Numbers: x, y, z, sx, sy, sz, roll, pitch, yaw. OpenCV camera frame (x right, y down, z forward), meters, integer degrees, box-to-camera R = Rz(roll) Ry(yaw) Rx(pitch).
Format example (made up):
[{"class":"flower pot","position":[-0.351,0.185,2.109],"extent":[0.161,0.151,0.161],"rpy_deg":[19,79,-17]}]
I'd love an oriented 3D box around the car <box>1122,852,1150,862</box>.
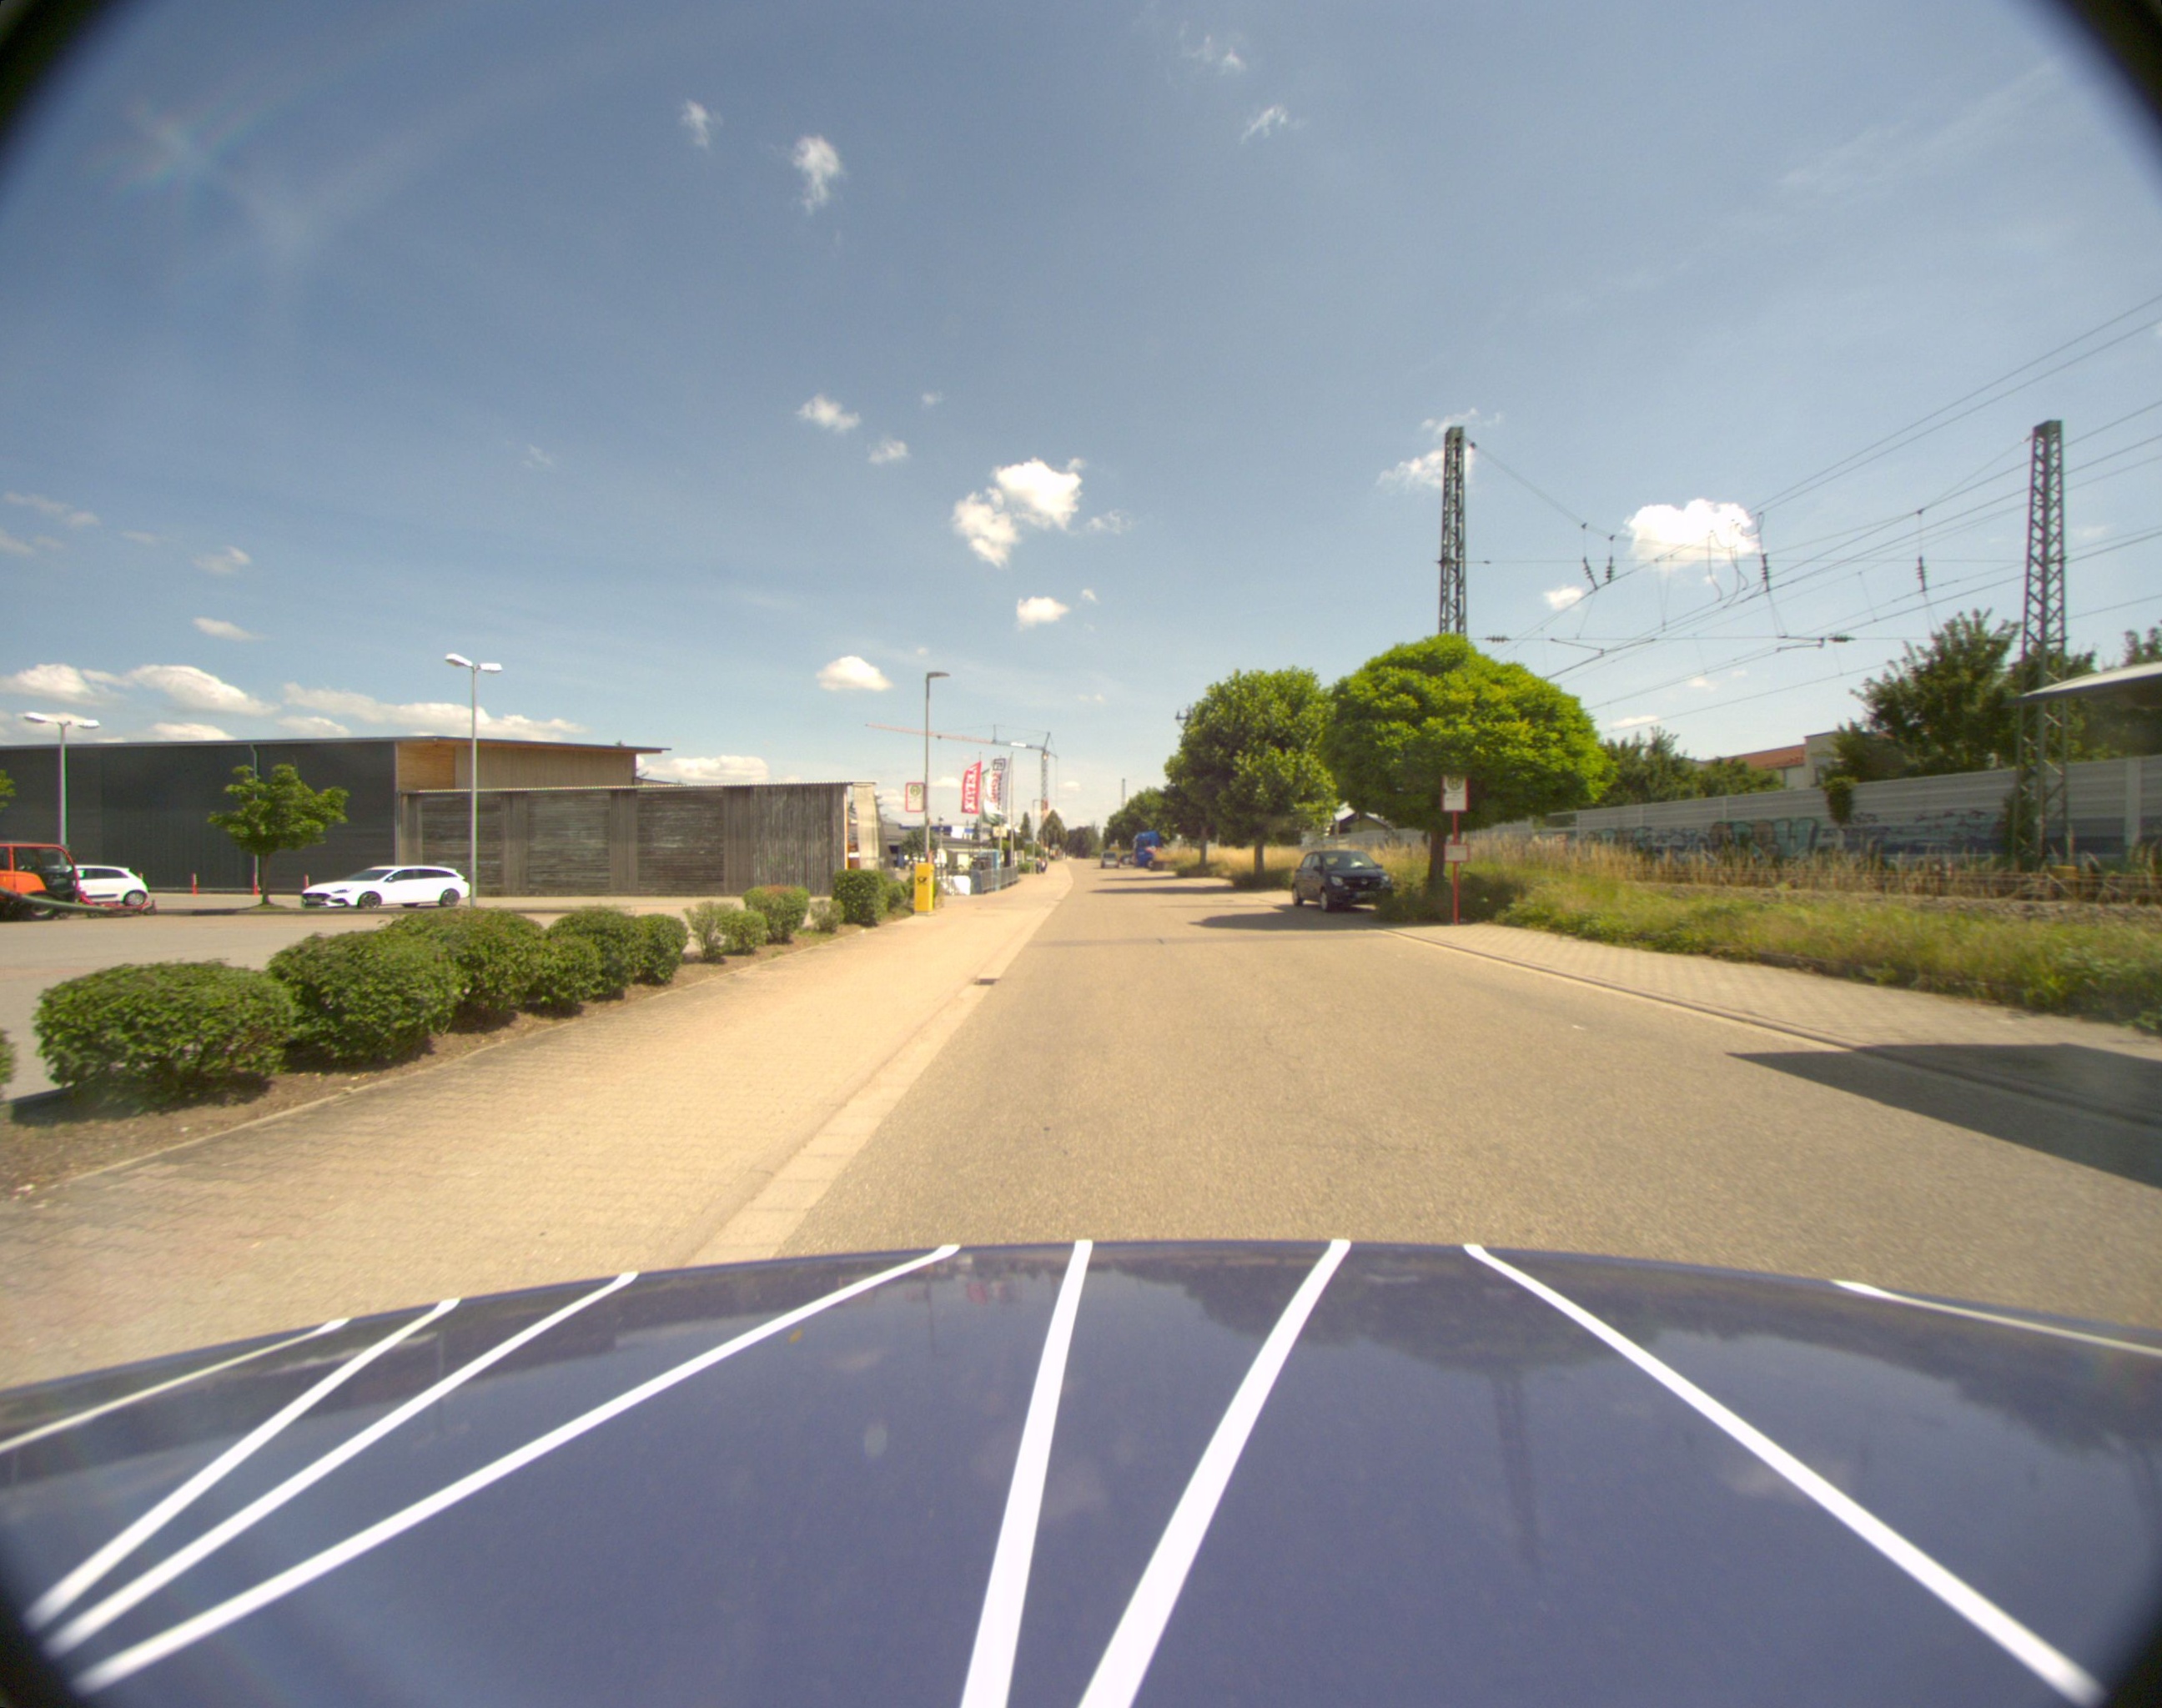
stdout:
[{"class":"car","position":[7.960,0.381,110.492],"extent":[3.954,1.442,1.787],"rpy_deg":[0,1,3]}]

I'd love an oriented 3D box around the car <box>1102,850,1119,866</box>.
[{"class":"car","position":[3.455,0.498,90.192],"extent":[1.843,1.847,4.483],"rpy_deg":[-1,0,0]}]

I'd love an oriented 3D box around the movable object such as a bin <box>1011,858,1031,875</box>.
[{"class":"movable object such as a bin","position":[-5.217,1.076,65.857],"extent":[1.270,1.450,1.046],"rpy_deg":[-2,1,-38]}]

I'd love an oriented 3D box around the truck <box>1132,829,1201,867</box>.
[{"class":"truck","position":[8.845,-0.620,78.988],"extent":[6.632,3.800,2.663],"rpy_deg":[-1,0,-4]}]

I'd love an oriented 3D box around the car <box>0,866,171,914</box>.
[{"class":"car","position":[-36.114,1.237,27.422],"extent":[1.583,1.565,4.001],"rpy_deg":[-1,0,4]}]

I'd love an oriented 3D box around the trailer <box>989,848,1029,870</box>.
[{"class":"trailer","position":[-7.701,0.570,81.410],"extent":[3.997,2.000,2.002],"rpy_deg":[-2,-5,-1]}]

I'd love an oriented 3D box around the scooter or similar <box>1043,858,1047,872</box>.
[{"class":"scooter or similar","position":[-3.103,0.986,65.624],"extent":[0.334,1.191,0.397],"rpy_deg":[0,3,0]}]

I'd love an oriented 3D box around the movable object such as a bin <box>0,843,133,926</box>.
[{"class":"movable object such as a bin","position":[-29.264,0.803,20.370],"extent":[1.682,2.191,4.526],"rpy_deg":[1,0,13]}]

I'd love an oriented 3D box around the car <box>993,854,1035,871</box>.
[{"class":"car","position":[-6.907,0.882,78.947],"extent":[4.224,1.625,1.799],"rpy_deg":[0,2,-2]}]

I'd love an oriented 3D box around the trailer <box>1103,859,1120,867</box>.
[{"class":"trailer","position":[3.443,0.996,85.813],"extent":[1.823,0.845,4.222],"rpy_deg":[0,0,0]}]

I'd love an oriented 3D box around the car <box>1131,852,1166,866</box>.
[{"class":"car","position":[8.101,0.577,91.082],"extent":[3.981,1.608,1.850],"rpy_deg":[-1,0,-4]}]

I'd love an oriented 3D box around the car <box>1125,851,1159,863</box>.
[{"class":"car","position":[7.965,0.394,99.582],"extent":[4.349,1.524,1.926],"rpy_deg":[-1,0,-1]}]

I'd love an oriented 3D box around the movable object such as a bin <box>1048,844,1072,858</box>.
[{"class":"movable object such as a bin","position":[-5.145,-0.740,185.950],"extent":[5.133,3.277,2.390],"rpy_deg":[0,6,-18]}]

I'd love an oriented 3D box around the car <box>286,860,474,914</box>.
[{"class":"car","position":[-23.543,1.062,25.802],"extent":[1.997,1.652,4.441],"rpy_deg":[-1,-1,7]}]

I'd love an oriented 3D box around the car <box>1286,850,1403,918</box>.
[{"class":"car","position":[6.750,0.726,19.867],"extent":[1.746,1.586,3.579],"rpy_deg":[-1,0,-1]}]

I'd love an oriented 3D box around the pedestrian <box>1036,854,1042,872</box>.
[{"class":"pedestrian","position":[-3.631,0.809,65.752],"extent":[0.536,1.531,0.510],"rpy_deg":[0,3,-2]}]

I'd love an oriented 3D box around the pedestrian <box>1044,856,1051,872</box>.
[{"class":"pedestrian","position":[-2.970,0.875,67.740],"extent":[0.596,1.397,0.583],"rpy_deg":[0,3,-5]}]
